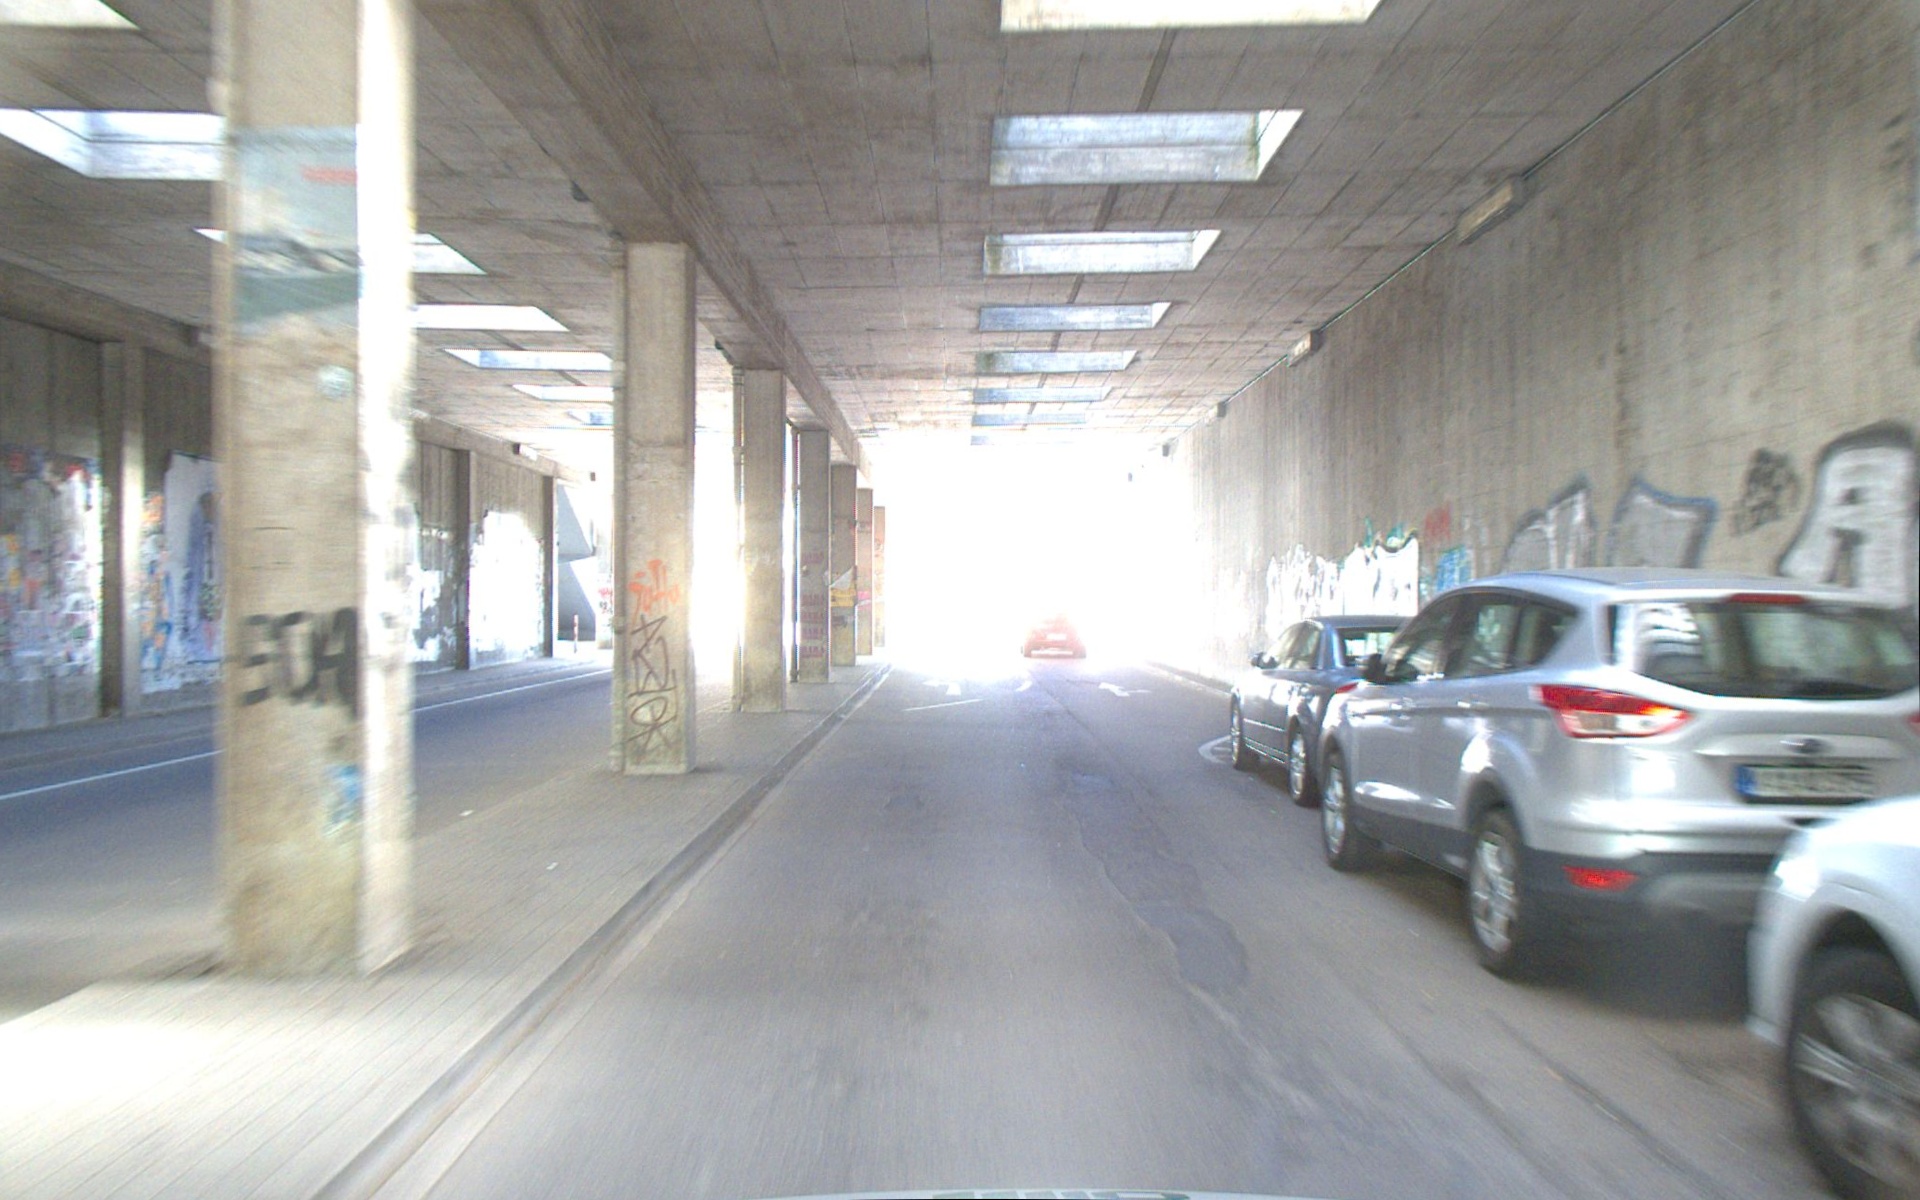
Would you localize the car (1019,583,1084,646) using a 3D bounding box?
[{"bbox_3d":[2.859,0.433,52.658,1.778,1.915,4.585,-1,0,0],"label":"car"}]

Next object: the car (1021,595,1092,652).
[{"bbox_3d":[2.649,0.619,46.216,1.788,1.527,4.211,0,0,0],"label":"car"}]

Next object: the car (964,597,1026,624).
[{"bbox_3d":[2.389,0.711,113.246,4.062,1.769,2.002,-1,0,7],"label":"car"}]

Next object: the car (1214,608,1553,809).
[{"bbox_3d":[3.351,0.784,13.940,1.666,1.398,4.372,1,0,-1],"label":"car"}]

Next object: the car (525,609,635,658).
[{"bbox_3d":[-16.788,1.468,73.220,4.388,2.048,2.000,0,2,0],"label":"car"}]

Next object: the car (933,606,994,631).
[{"bbox_3d":[0.254,1.224,108.966,3.903,1.601,1.640,0,-1,4],"label":"car"}]

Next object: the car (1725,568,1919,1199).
[{"bbox_3d":[3.236,0.694,2.870,1.695,1.573,4.152,0,-1,-4],"label":"car"}]

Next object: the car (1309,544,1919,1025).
[{"bbox_3d":[3.100,0.639,8.053,1.815,1.695,4.370,0,0,-1],"label":"car"}]
